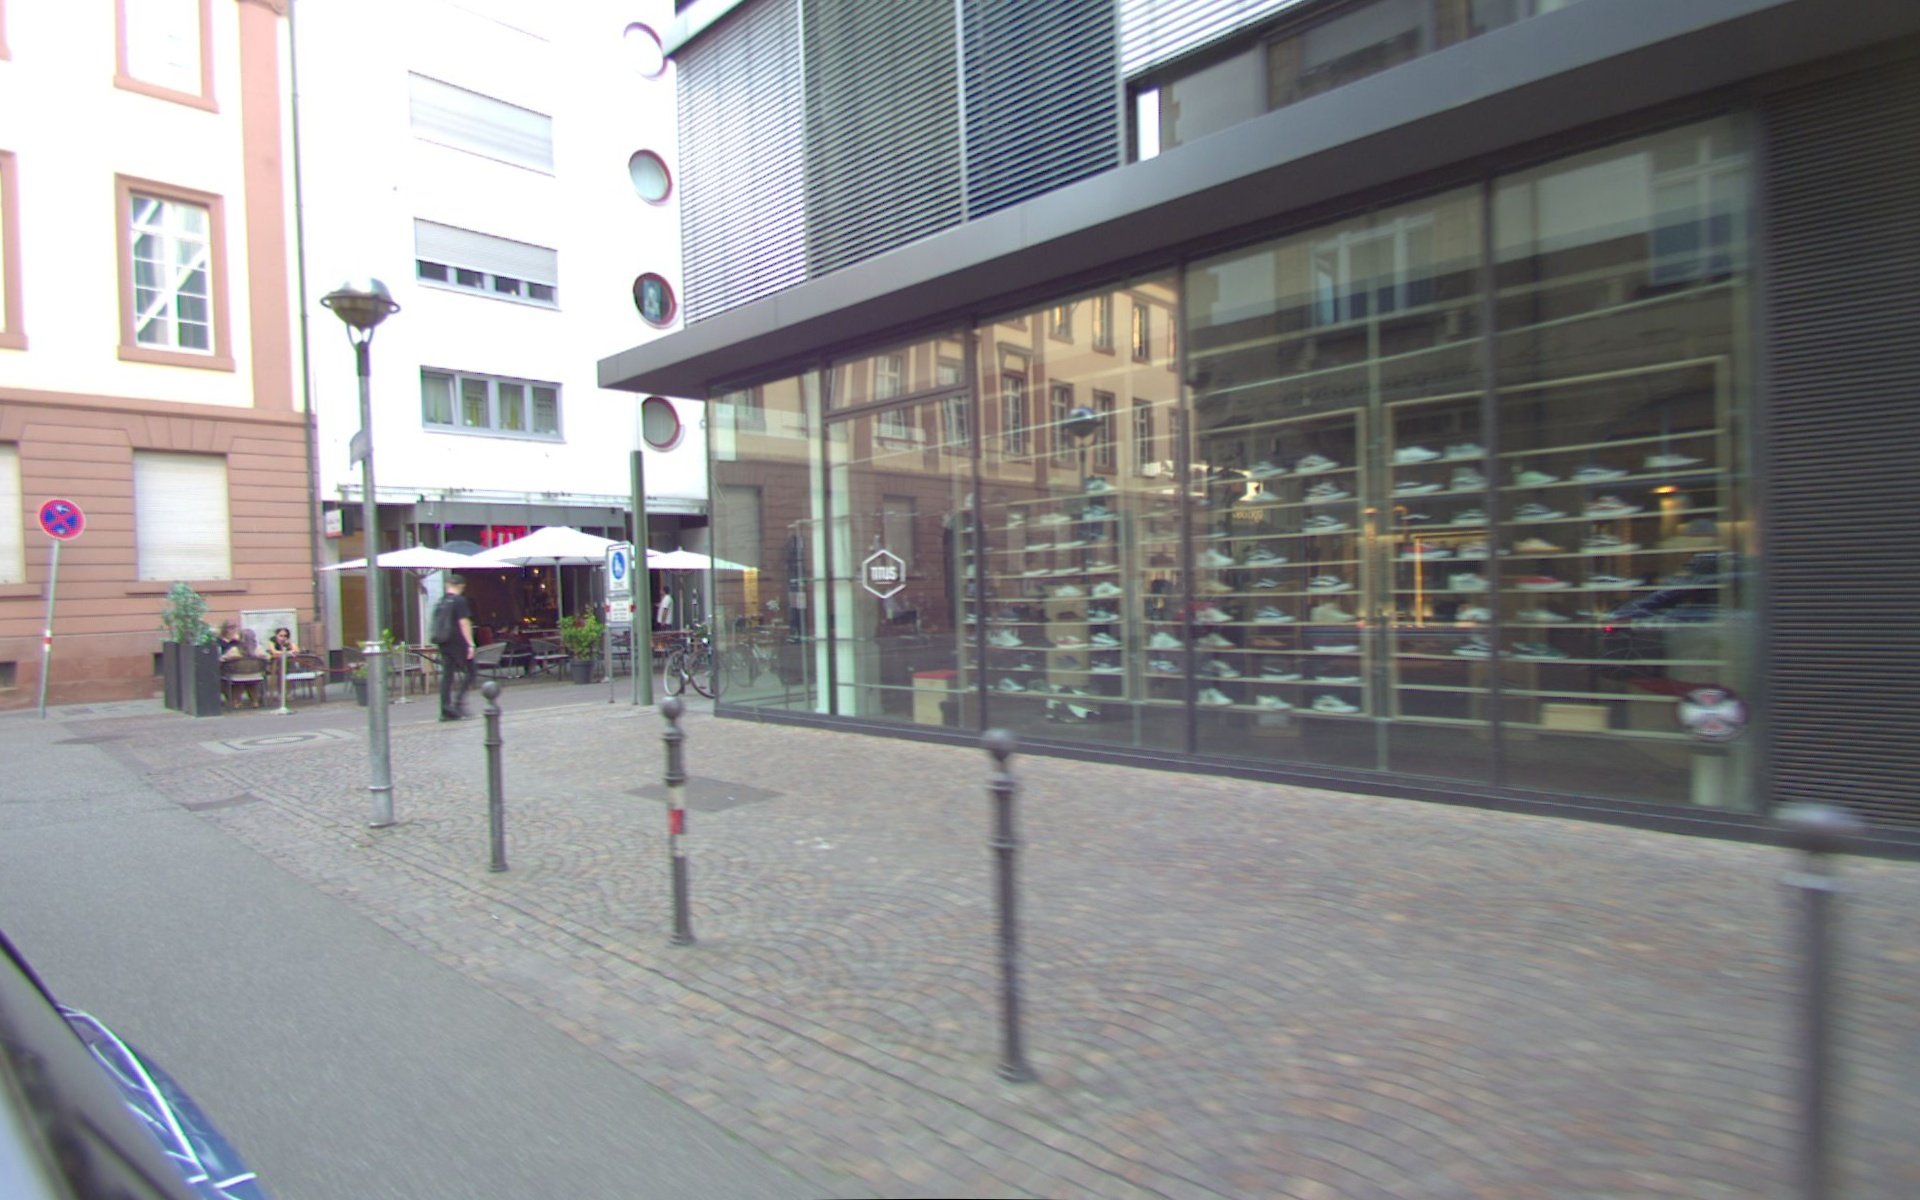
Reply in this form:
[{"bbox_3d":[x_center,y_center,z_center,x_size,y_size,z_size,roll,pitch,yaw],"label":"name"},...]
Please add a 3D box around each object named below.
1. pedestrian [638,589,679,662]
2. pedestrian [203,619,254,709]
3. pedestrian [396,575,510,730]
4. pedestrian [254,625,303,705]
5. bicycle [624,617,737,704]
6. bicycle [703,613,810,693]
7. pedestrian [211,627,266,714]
[{"bbox_3d":[-7.126,0.594,23.923,0.619,1.678,0.667,-2,0,15],"label":"pedestrian"},{"bbox_3d":[-11.558,0.999,15.992,0.541,1.359,0.489,-2,0,-45],"label":"pedestrian"},{"bbox_3d":[-6.185,0.609,12.379,0.736,1.798,0.960,-2,0,25],"label":"pedestrian"},{"bbox_3d":[-10.940,1.032,16.251,0.541,1.220,0.524,-2,0,-45],"label":"pedestrian"},{"bbox_3d":[-3.957,0.843,14.266,1.673,1.121,0.700,-3,-1,42],"label":"bicycle"},{"bbox_3d":[-3.185,0.824,15.728,1.841,1.159,0.601,-3,-1,42],"label":"bicycle"},{"bbox_3d":[-10.575,1.024,14.835,0.554,1.221,0.461,-2,0,-45],"label":"pedestrian"}]
